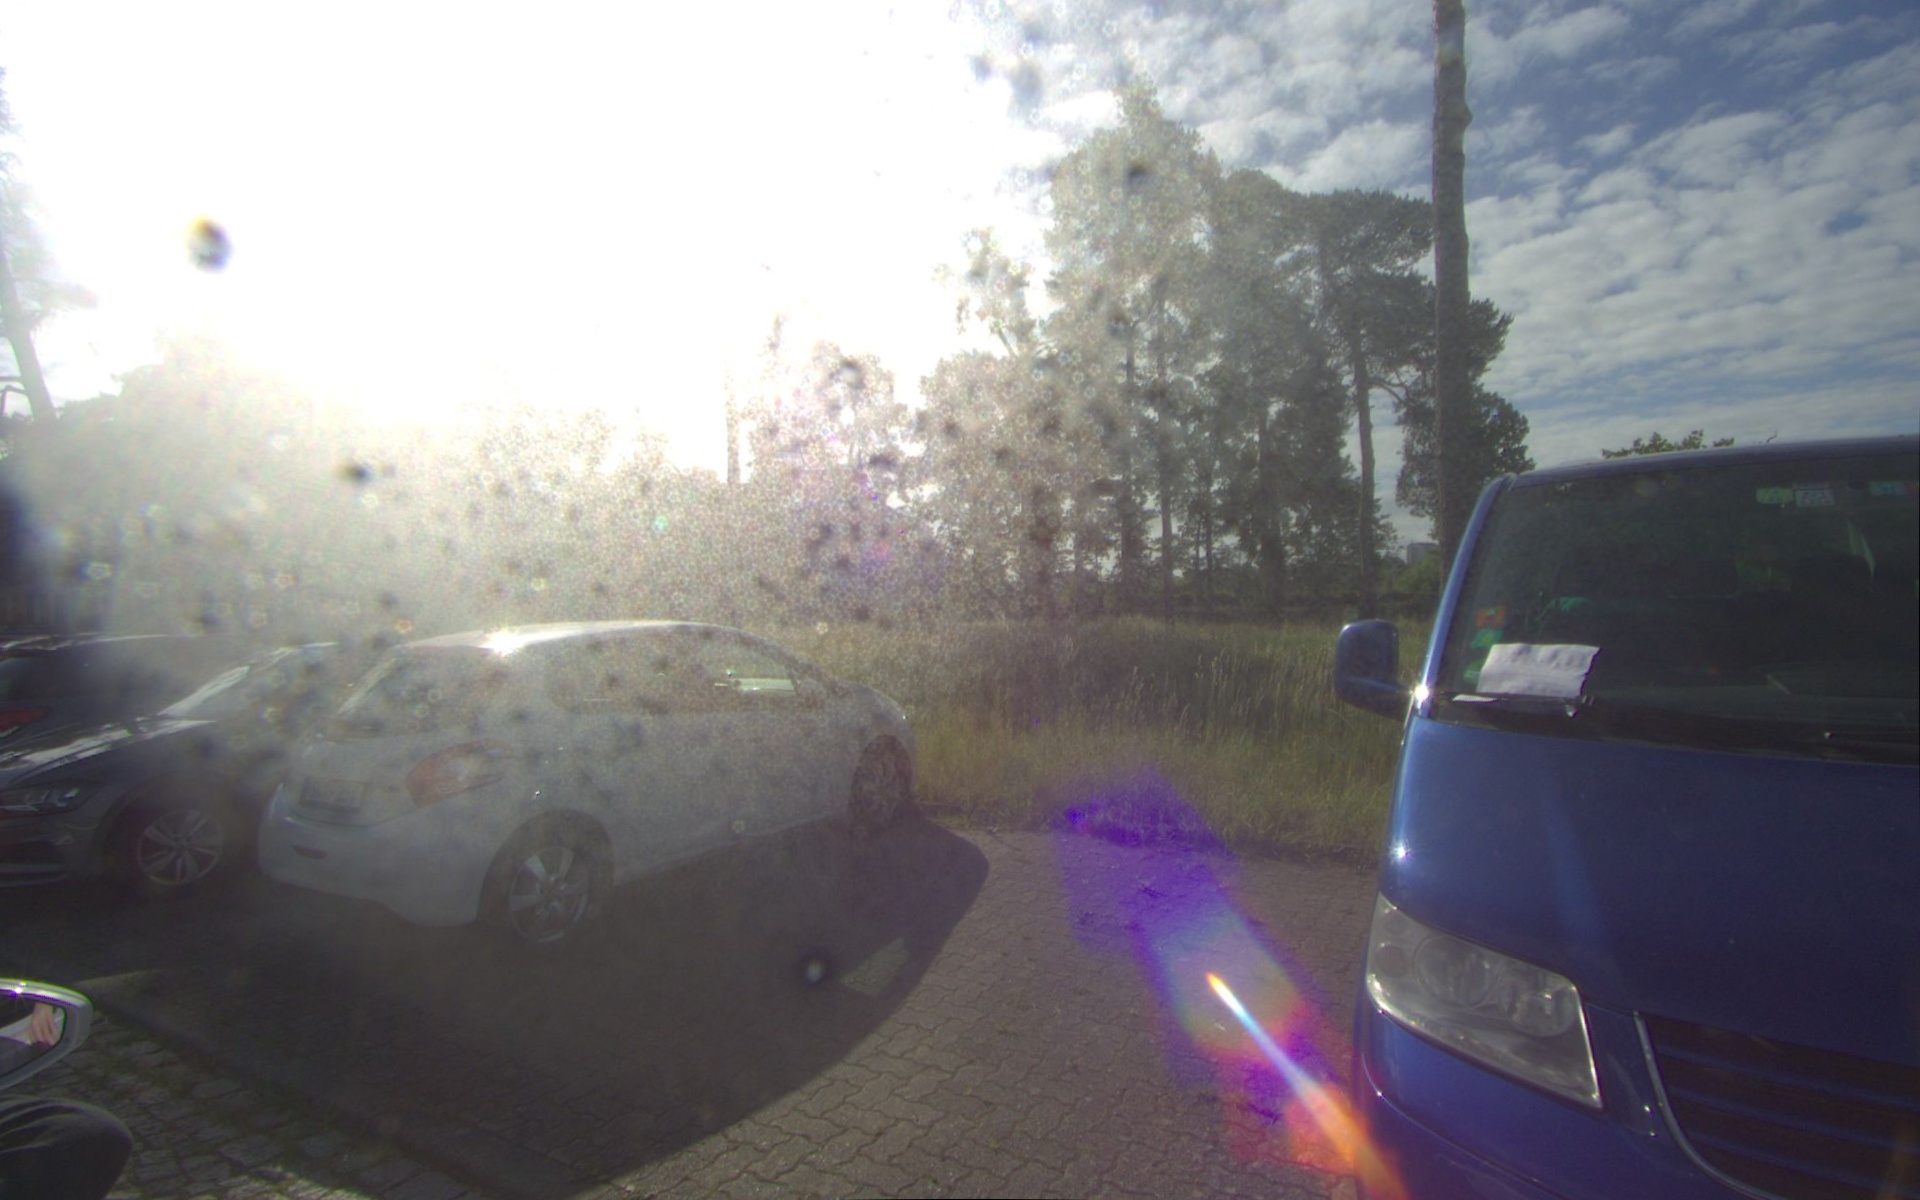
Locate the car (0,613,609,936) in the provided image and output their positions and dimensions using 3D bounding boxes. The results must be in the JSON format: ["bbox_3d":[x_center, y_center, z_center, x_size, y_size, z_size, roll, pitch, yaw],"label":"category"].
[{"bbox_3d":[-4.581,0.892,6.959,1.829,1.468,3.699,-1,1,32],"label":"car"}]

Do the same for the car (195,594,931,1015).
[{"bbox_3d":[-1.915,0.793,5.888,1.736,1.555,3.699,-1,1,32],"label":"car"}]

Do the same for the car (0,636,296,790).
[{"bbox_3d":[-9.087,1.089,10.003,1.721,1.240,3.699,-1,1,32],"label":"car"}]

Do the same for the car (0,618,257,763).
[{"bbox_3d":[-10.862,1.029,11.602,1.613,1.468,4.118,-1,1,32],"label":"car"}]

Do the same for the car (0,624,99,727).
[{"bbox_3d":[-15.072,1.147,13.816,1.613,1.434,4.549,-1,1,32],"label":"car"}]

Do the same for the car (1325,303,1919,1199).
[{"bbox_3d":[2.784,0.474,3.510,1.971,1.961,4.689,-1,1,31],"label":"car"}]

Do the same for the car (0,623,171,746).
[{"bbox_3d":[-12.808,1.099,12.387,1.755,1.434,4.422,-1,1,32],"label":"car"}]

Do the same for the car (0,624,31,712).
[{"bbox_3d":[-17.251,1.177,15.506,1.613,1.434,3.873,-1,1,32],"label":"car"}]

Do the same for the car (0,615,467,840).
[{"bbox_3d":[-6.711,0.937,8.982,1.790,1.468,3.699,-1,1,31],"label":"car"}]
